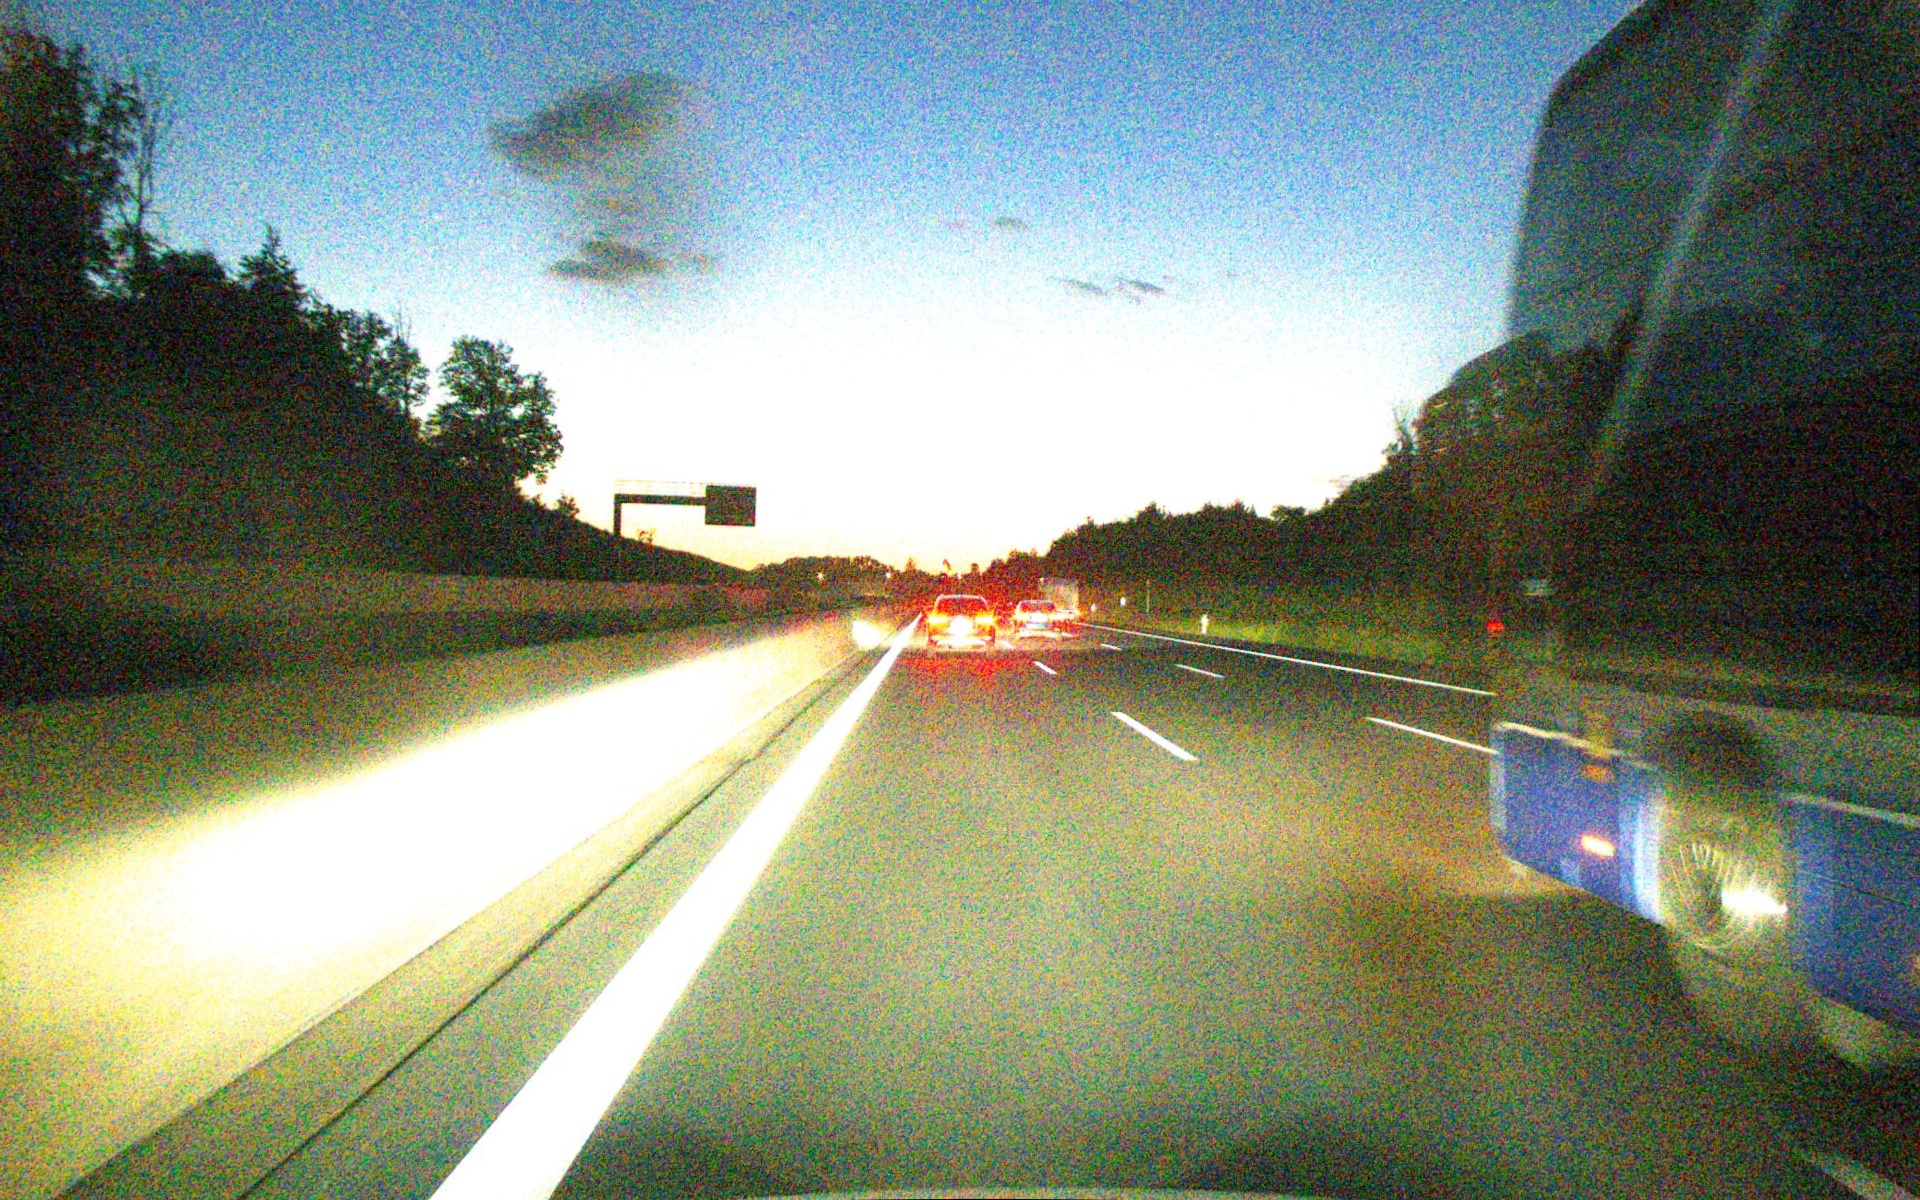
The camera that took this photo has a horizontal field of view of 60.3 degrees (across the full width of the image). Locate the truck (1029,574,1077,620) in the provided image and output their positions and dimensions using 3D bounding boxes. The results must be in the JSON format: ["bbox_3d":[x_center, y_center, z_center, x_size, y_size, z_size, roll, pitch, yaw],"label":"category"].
[{"bbox_3d":[6.206,-0.202,111.007,2.550,2.925,7.483,1,0,-2],"label":"truck"}]

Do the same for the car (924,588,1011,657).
[{"bbox_3d":[0.142,0.565,43.098,2.063,1.646,4.202,2,0,-2],"label":"car"}]

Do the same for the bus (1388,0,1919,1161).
[{"bbox_3d":[3.862,-0.564,1.793,2.598,4.064,14.697,2,0,-1],"label":"bus"}]

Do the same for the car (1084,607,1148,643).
[{"bbox_3d":[5.894,0.936,63.003,1.873,1.297,3.998,1,0,-3],"label":"car"}]

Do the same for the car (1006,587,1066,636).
[{"bbox_3d":[2.834,0.432,62.644,1.873,1.760,3.998,1,0,-3],"label":"car"}]
